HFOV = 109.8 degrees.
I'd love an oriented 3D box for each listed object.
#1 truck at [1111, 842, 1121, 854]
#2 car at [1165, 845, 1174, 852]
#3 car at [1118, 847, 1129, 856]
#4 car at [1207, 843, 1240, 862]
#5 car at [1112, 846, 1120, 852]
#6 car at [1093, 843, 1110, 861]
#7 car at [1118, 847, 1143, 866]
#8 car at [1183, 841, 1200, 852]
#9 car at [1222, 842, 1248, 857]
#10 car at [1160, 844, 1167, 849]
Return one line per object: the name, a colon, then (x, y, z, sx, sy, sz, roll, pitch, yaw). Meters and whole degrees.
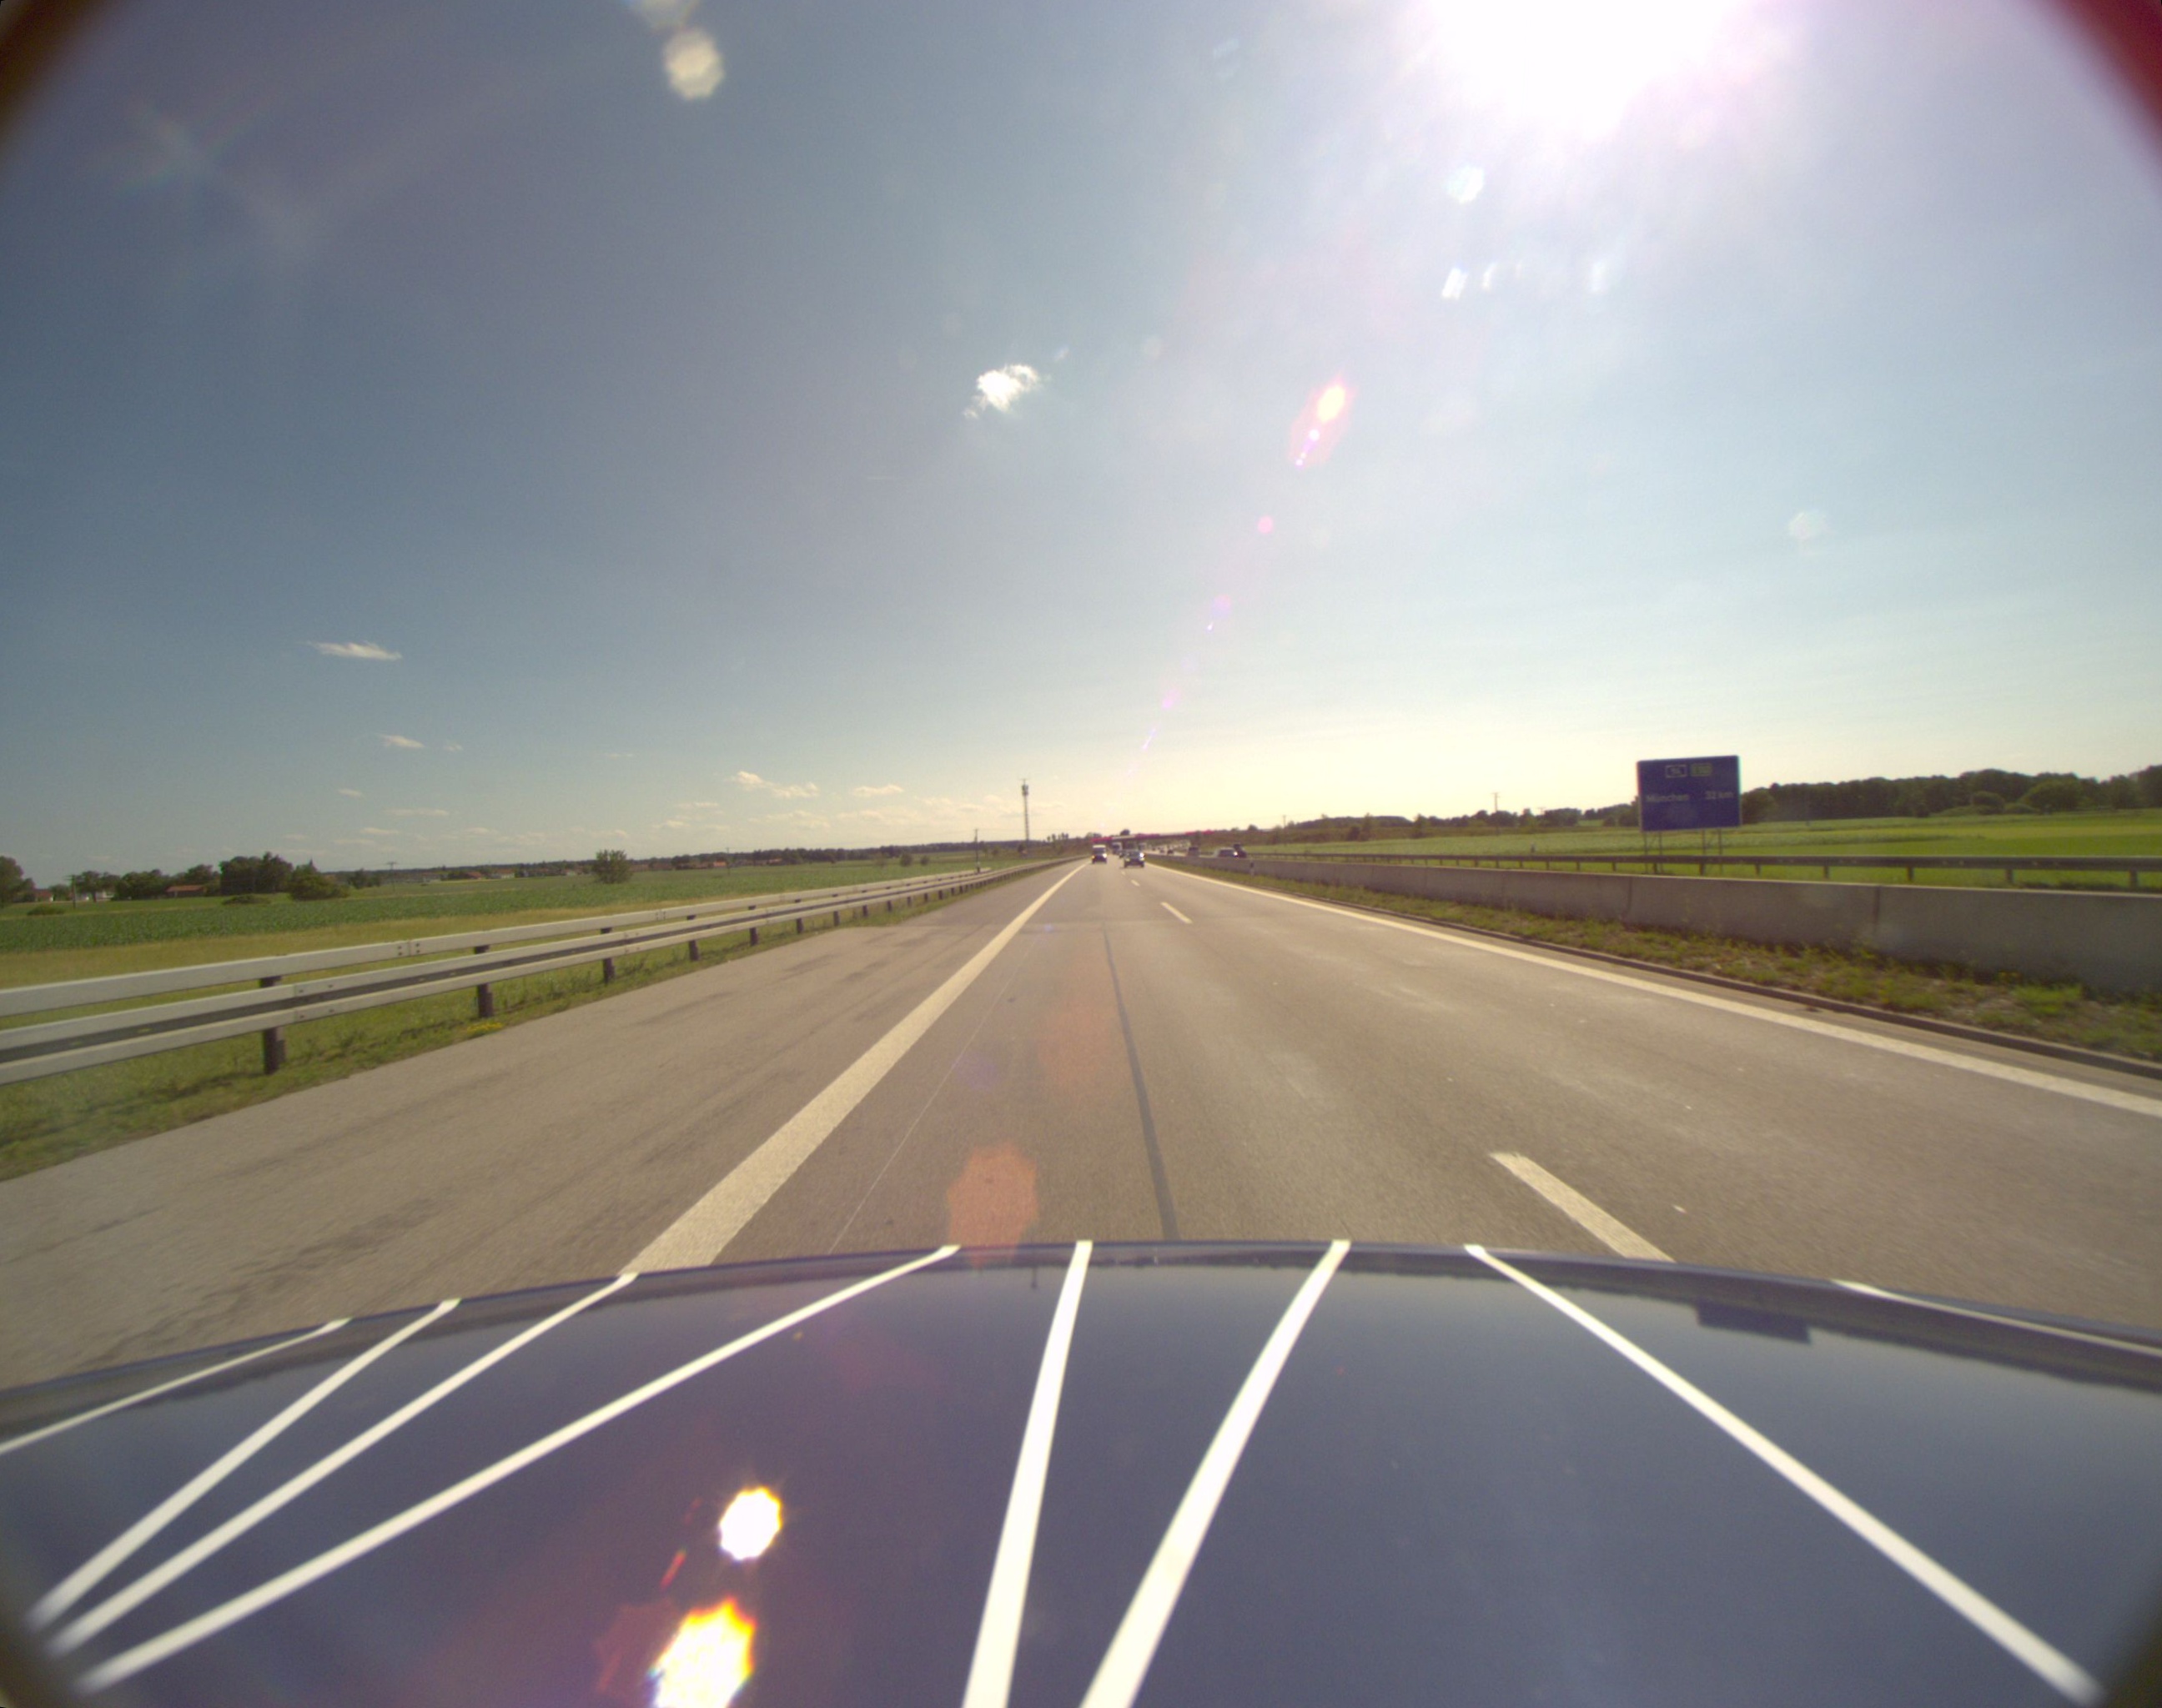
truck: (11.742, -2.100, 254.521, 2.762, 3.793, 7.517, -3, 1, 3)
car: (22.798, -1.416, 196.322, 1.863, 1.575, 4.914, -1, 1, 2)
car: (8.301, -0.525, 148.284, 2.030, 1.600, 4.819, -4, 0, 2)
car: (11.821, -0.137, 63.434, 1.902, 1.514, 4.805, -1, 1, 1)
car: (10.308, -1.417, 222.580, 2.030, 1.600, 4.818, -4, 1, 1)
car: (2.708, -0.274, 99.156, 2.030, 2.225, 4.818, -2, 1, 2)
car: (4.596, 0.209, 71.457, 2.030, 1.601, 4.817, -3, 1, 1)
car: (18.080, -1.243, 124.725, 1.959, 1.831, 5.449, -1, 1, 1)
car: (16.486, -0.534, 81.452, 1.902, 1.514, 4.805, -1, 1, 1)
car: (25.840, -2.342, 238.709, 1.827, 1.357, 5.295, -1, 1, 2)
